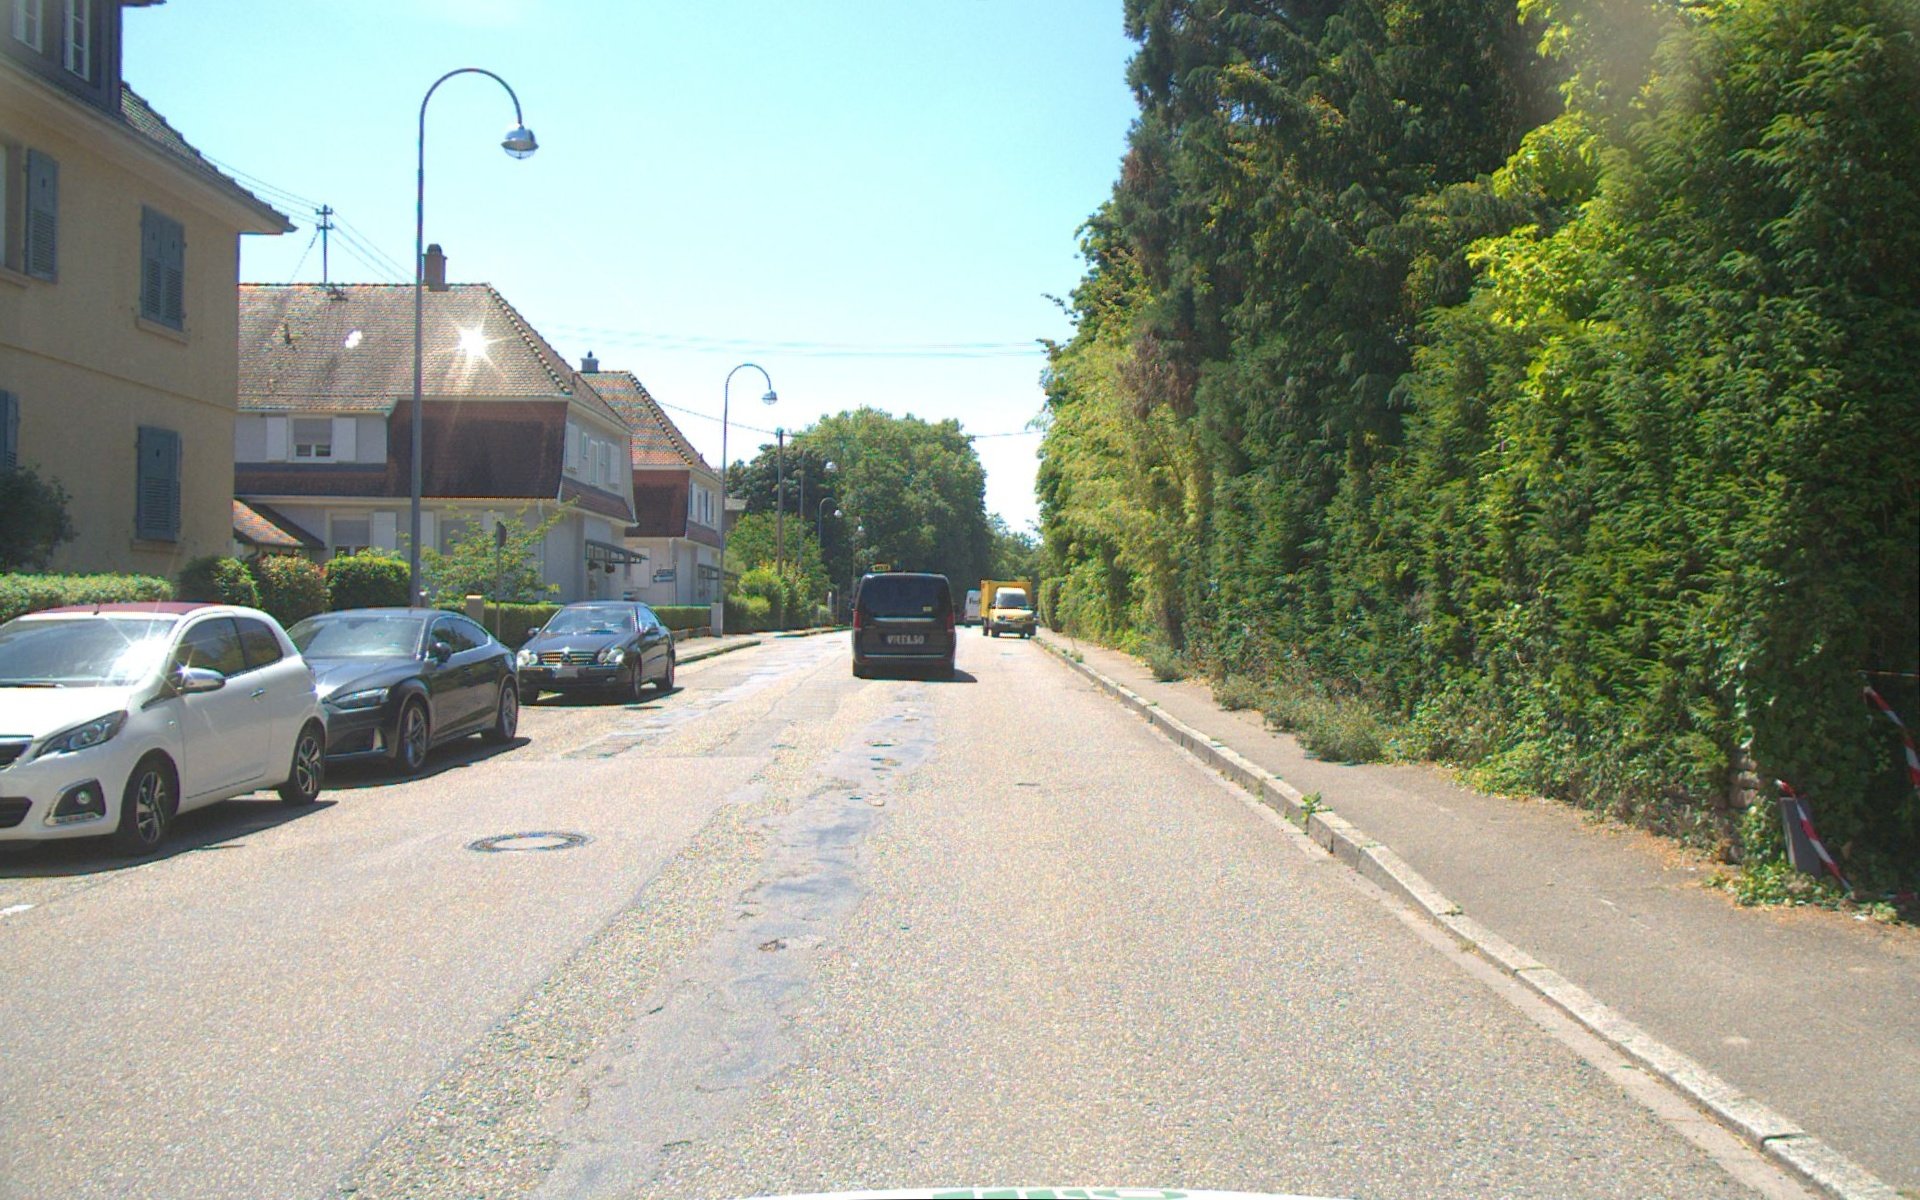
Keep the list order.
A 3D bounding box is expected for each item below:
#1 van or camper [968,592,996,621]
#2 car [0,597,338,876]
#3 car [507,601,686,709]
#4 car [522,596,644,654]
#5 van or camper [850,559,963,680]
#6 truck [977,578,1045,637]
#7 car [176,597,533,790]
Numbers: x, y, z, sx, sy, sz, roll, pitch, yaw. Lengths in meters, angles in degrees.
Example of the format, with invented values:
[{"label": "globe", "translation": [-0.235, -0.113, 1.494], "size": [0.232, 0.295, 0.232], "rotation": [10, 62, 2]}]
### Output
[{"label": "van or camper", "translation": [1.579, 0.486, 117.855], "size": [1.952, 2.049, 4.001], "rotation": [0, 0, 1]}, {"label": "car", "translation": [-5.534, 0.747, 10.763], "size": [1.631, 1.519, 3.478], "rotation": [0, 0, 0]}, {"label": "car", "translation": [-5.301, 0.751, 24.670], "size": [1.632, 1.410, 4.380], "rotation": [-1, 0, 1]}, {"label": "car", "translation": [-13.074, 0.860, 57.514], "size": [3.788, 1.938, 1.880], "rotation": [0, 0, 0]}, {"label": "van or camper", "translation": [-0.919, 0.346, 31.156], "size": [1.863, 2.049, 5.270], "rotation": [1, 0, 1]}, {"label": "truck", "translation": [2.034, 0.319, 67.904], "size": [2.309, 2.298, 6.088], "rotation": [0, 0, -3]}, {"label": "car", "translation": [-5.373, 0.736, 15.329], "size": [1.631, 1.519, 4.466], "rotation": [0, 0, 0]}]
